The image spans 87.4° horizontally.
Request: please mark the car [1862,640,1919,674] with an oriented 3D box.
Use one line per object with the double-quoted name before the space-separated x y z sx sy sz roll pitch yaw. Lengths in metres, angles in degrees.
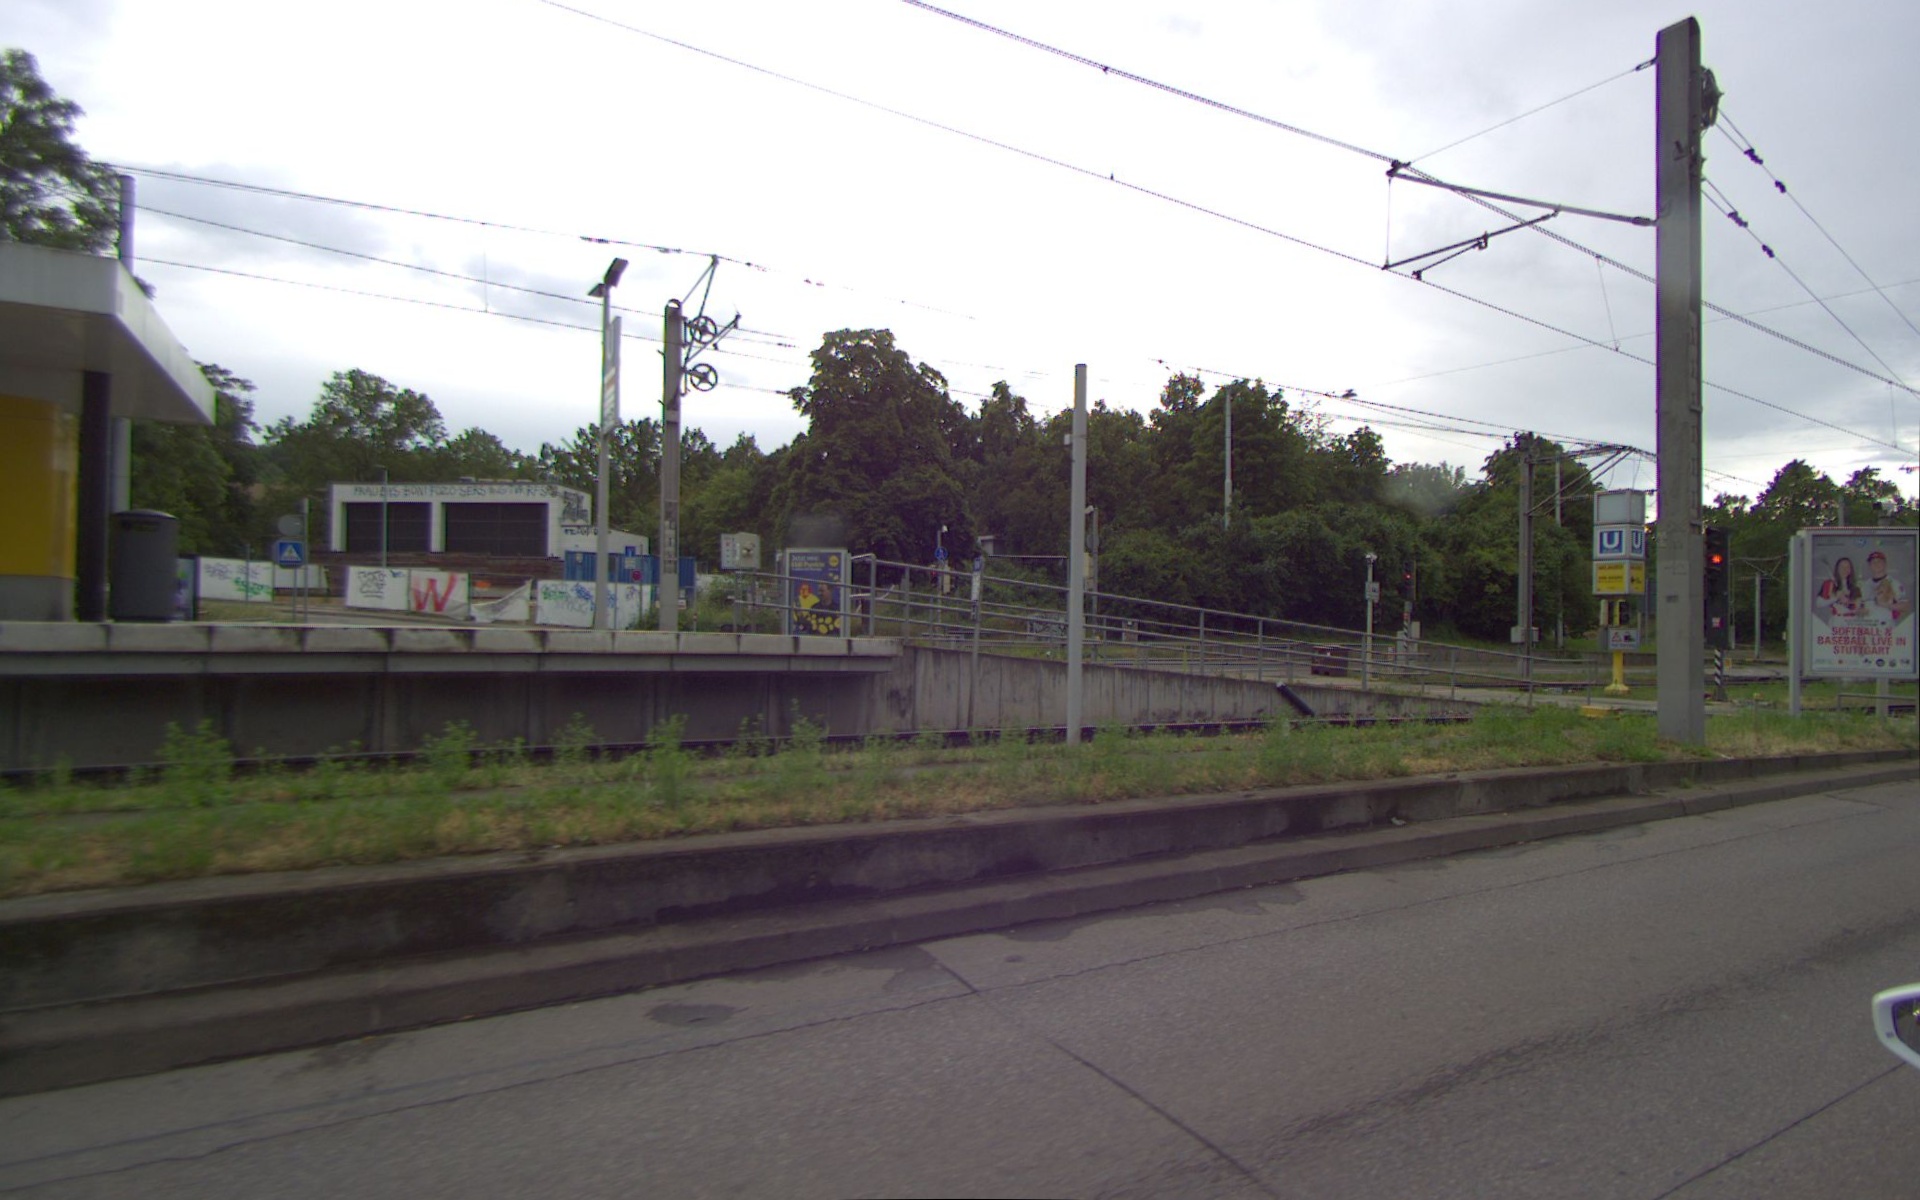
"car" 53.301 3.217 57.271 3.259 1.654 1.661 0 3 -26
